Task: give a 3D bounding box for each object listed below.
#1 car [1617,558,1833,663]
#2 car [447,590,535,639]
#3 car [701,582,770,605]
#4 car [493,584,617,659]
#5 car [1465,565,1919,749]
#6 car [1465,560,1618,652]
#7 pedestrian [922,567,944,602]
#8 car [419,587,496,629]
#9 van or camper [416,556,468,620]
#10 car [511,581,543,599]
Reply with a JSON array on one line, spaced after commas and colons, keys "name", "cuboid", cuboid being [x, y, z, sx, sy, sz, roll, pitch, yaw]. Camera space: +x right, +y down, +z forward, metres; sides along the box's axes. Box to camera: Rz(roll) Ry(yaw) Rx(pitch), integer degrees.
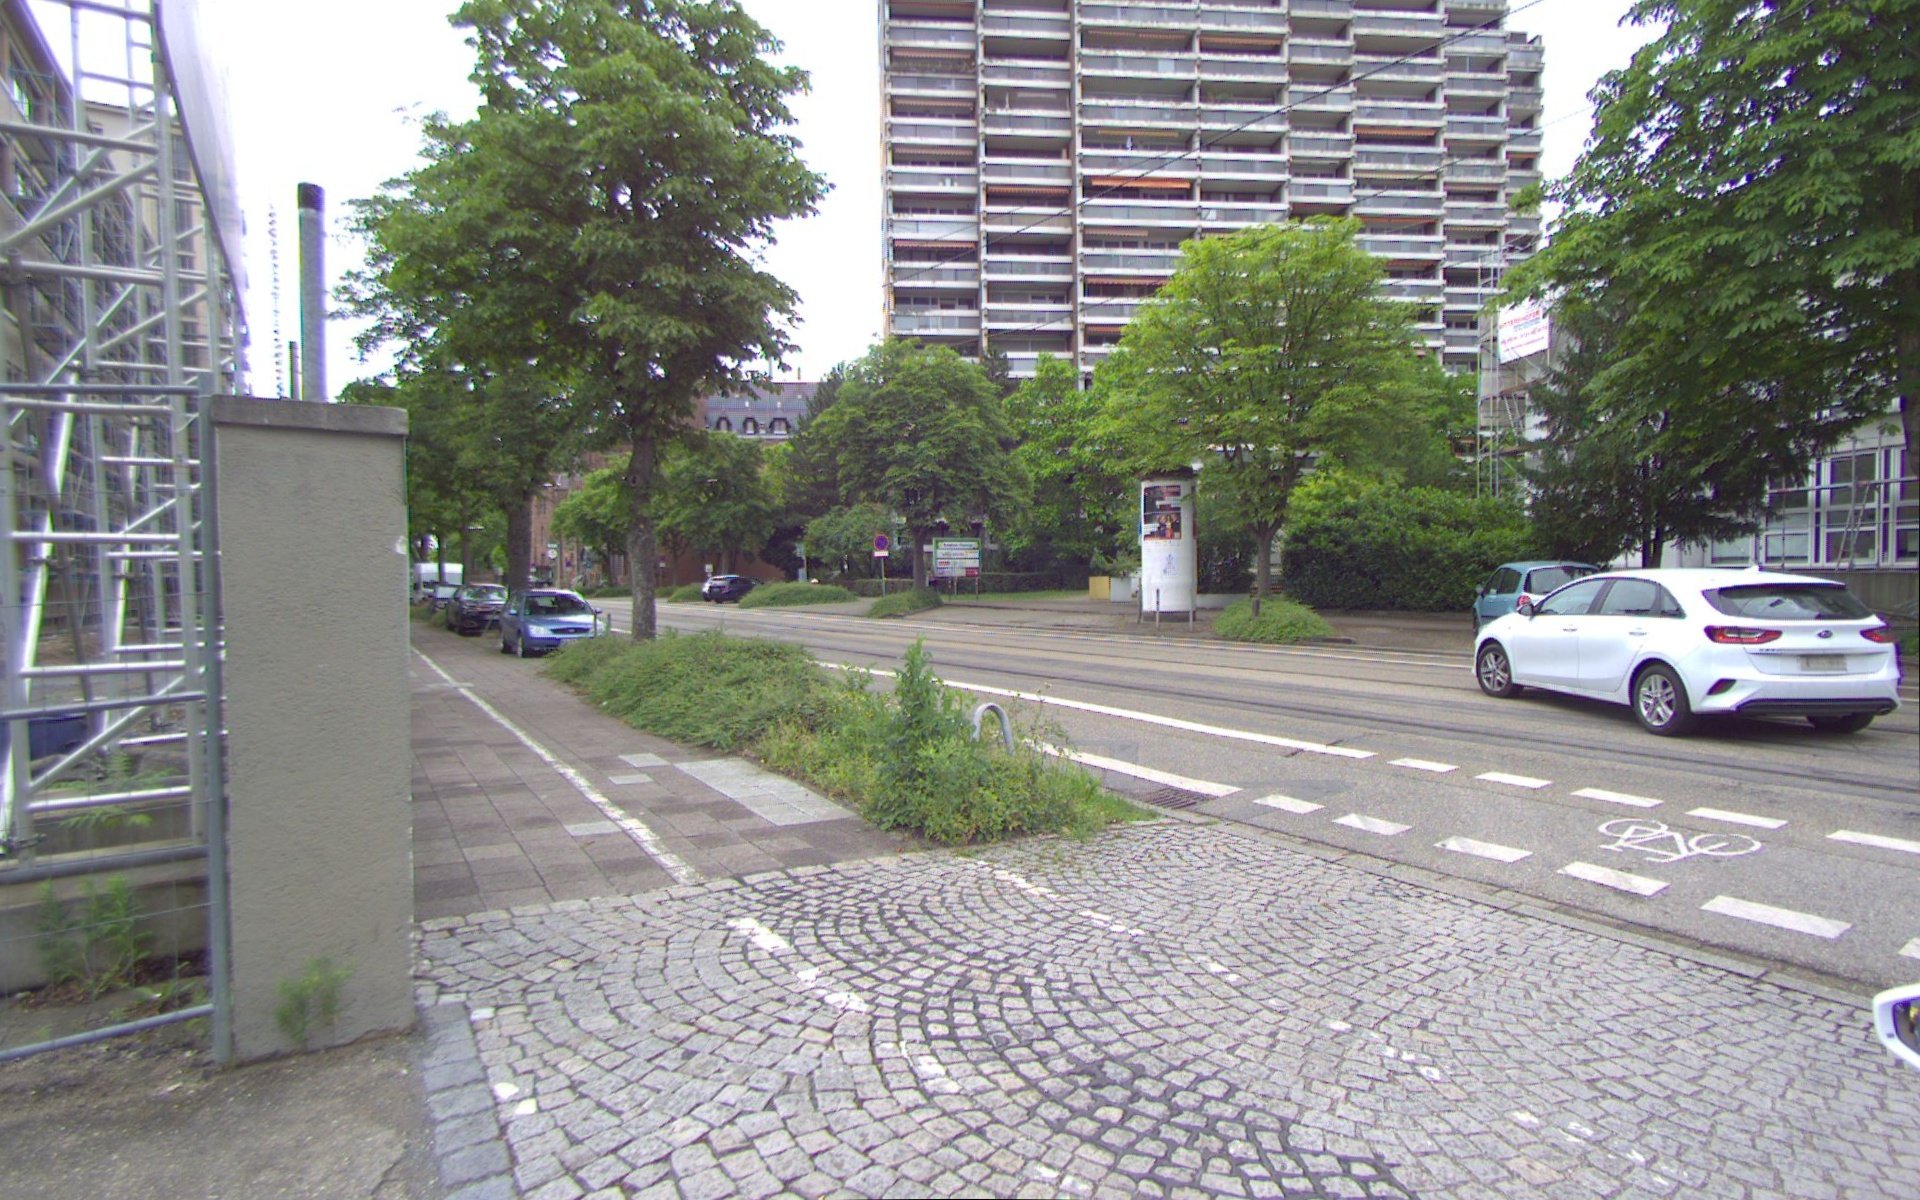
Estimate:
[{"name": "car", "cuboid": [12.324, 0.140, 16.431, 1.586, 1.531, 3.338, 0, 1, 13]}, {"name": "car", "cuboid": [-14.484, 0.389, 30.896, 1.978, 1.328, 3.965, -2, 2, -32]}, {"name": "car", "cuboid": [-12.432, -0.351, 55.776, 3.523, 1.222, 1.504, -1, 2, -2]}, {"name": "car", "cuboid": [-8.831, 0.385, 21.730, 1.813, 1.437, 3.964, -2, 2, -32]}, {"name": "car", "cuboid": [6.937, 0.390, 10.067, 1.746, 1.452, 3.977, -1, 2, 0]}, {"name": "car", "cuboid": [10.845, 0.067, 18.971, 1.586, 1.558, 3.338, 0, 1, 13]}, {"name": "pedestrian", "cuboid": [-1.205, -0.715, 44.895, 0.838, 1.548, 0.515, -2, 2, -44]}, {"name": "car", "cuboid": [-17.282, 0.226, 34.452, 1.978, 1.328, 3.965, -2, 2, -32]}, {"name": "van or camper", "cuboid": [-23.860, -0.581, 46.404, 1.974, 2.789, 3.973, -1, 2, -26]}, {"name": "car", "cuboid": [-37.239, -0.841, 86.366, 1.804, 1.510, 4.214, -2, 2, -34]}]
